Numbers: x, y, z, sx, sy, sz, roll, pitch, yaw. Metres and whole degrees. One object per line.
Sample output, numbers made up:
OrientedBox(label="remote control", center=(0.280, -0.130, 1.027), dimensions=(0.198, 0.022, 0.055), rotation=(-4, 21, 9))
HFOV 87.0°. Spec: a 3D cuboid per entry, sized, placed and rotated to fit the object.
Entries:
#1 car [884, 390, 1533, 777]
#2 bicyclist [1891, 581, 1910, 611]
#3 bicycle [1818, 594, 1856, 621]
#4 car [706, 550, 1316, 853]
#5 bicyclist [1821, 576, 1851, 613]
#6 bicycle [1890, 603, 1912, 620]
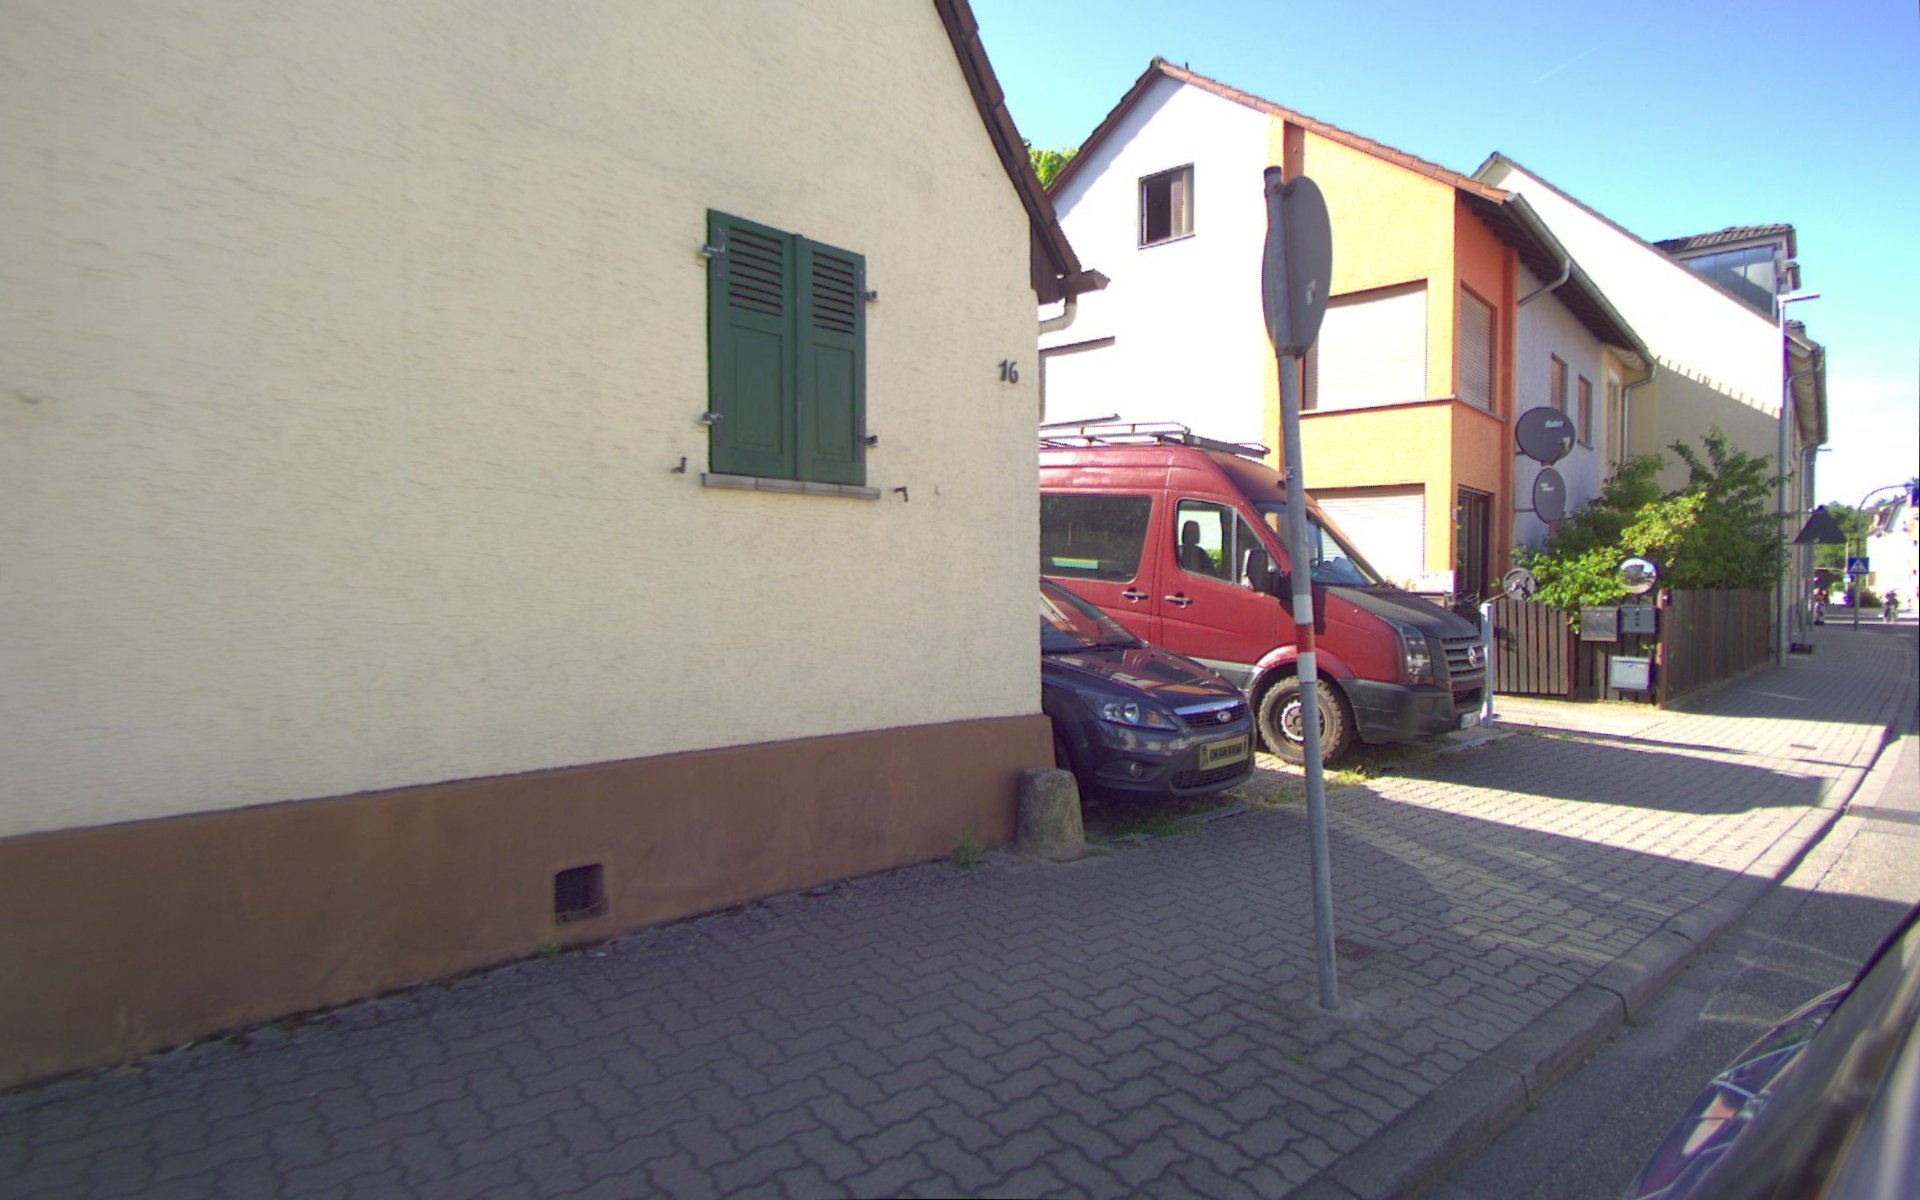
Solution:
OrientedBox(label="car", center=(1.968, -0.281, 9.700), dimensions=(5.802, 2.687, 1.938), rotation=(4, 4, 42))
OrientedBox(label="bicyclist", center=(48.460, -0.212, 52.164), dimensions=(0.607, 1.553, 0.646), rotation=(-3, -1, 38))
OrientedBox(label="bicycle", center=(56.388, 0.484, 65.100), dimensions=(1.248, 1.571, 3.954), rotation=(-2, 0, 33))
OrientedBox(label="car", center=(0.103, 0.431, 7.430), dimensions=(4.376, 1.505, 1.811), rotation=(4, 4, 44))
OrientedBox(label="bicyclist", center=(56.391, -0.346, 65.156), dimensions=(1.249, 2.337, 1.228), rotation=(-2, -1, 34))
OrientedBox(label="bicycle", center=(48.453, 0.575, 52.109), dimensions=(0.621, 0.789, 1.887), rotation=(-2, 0, 38))
